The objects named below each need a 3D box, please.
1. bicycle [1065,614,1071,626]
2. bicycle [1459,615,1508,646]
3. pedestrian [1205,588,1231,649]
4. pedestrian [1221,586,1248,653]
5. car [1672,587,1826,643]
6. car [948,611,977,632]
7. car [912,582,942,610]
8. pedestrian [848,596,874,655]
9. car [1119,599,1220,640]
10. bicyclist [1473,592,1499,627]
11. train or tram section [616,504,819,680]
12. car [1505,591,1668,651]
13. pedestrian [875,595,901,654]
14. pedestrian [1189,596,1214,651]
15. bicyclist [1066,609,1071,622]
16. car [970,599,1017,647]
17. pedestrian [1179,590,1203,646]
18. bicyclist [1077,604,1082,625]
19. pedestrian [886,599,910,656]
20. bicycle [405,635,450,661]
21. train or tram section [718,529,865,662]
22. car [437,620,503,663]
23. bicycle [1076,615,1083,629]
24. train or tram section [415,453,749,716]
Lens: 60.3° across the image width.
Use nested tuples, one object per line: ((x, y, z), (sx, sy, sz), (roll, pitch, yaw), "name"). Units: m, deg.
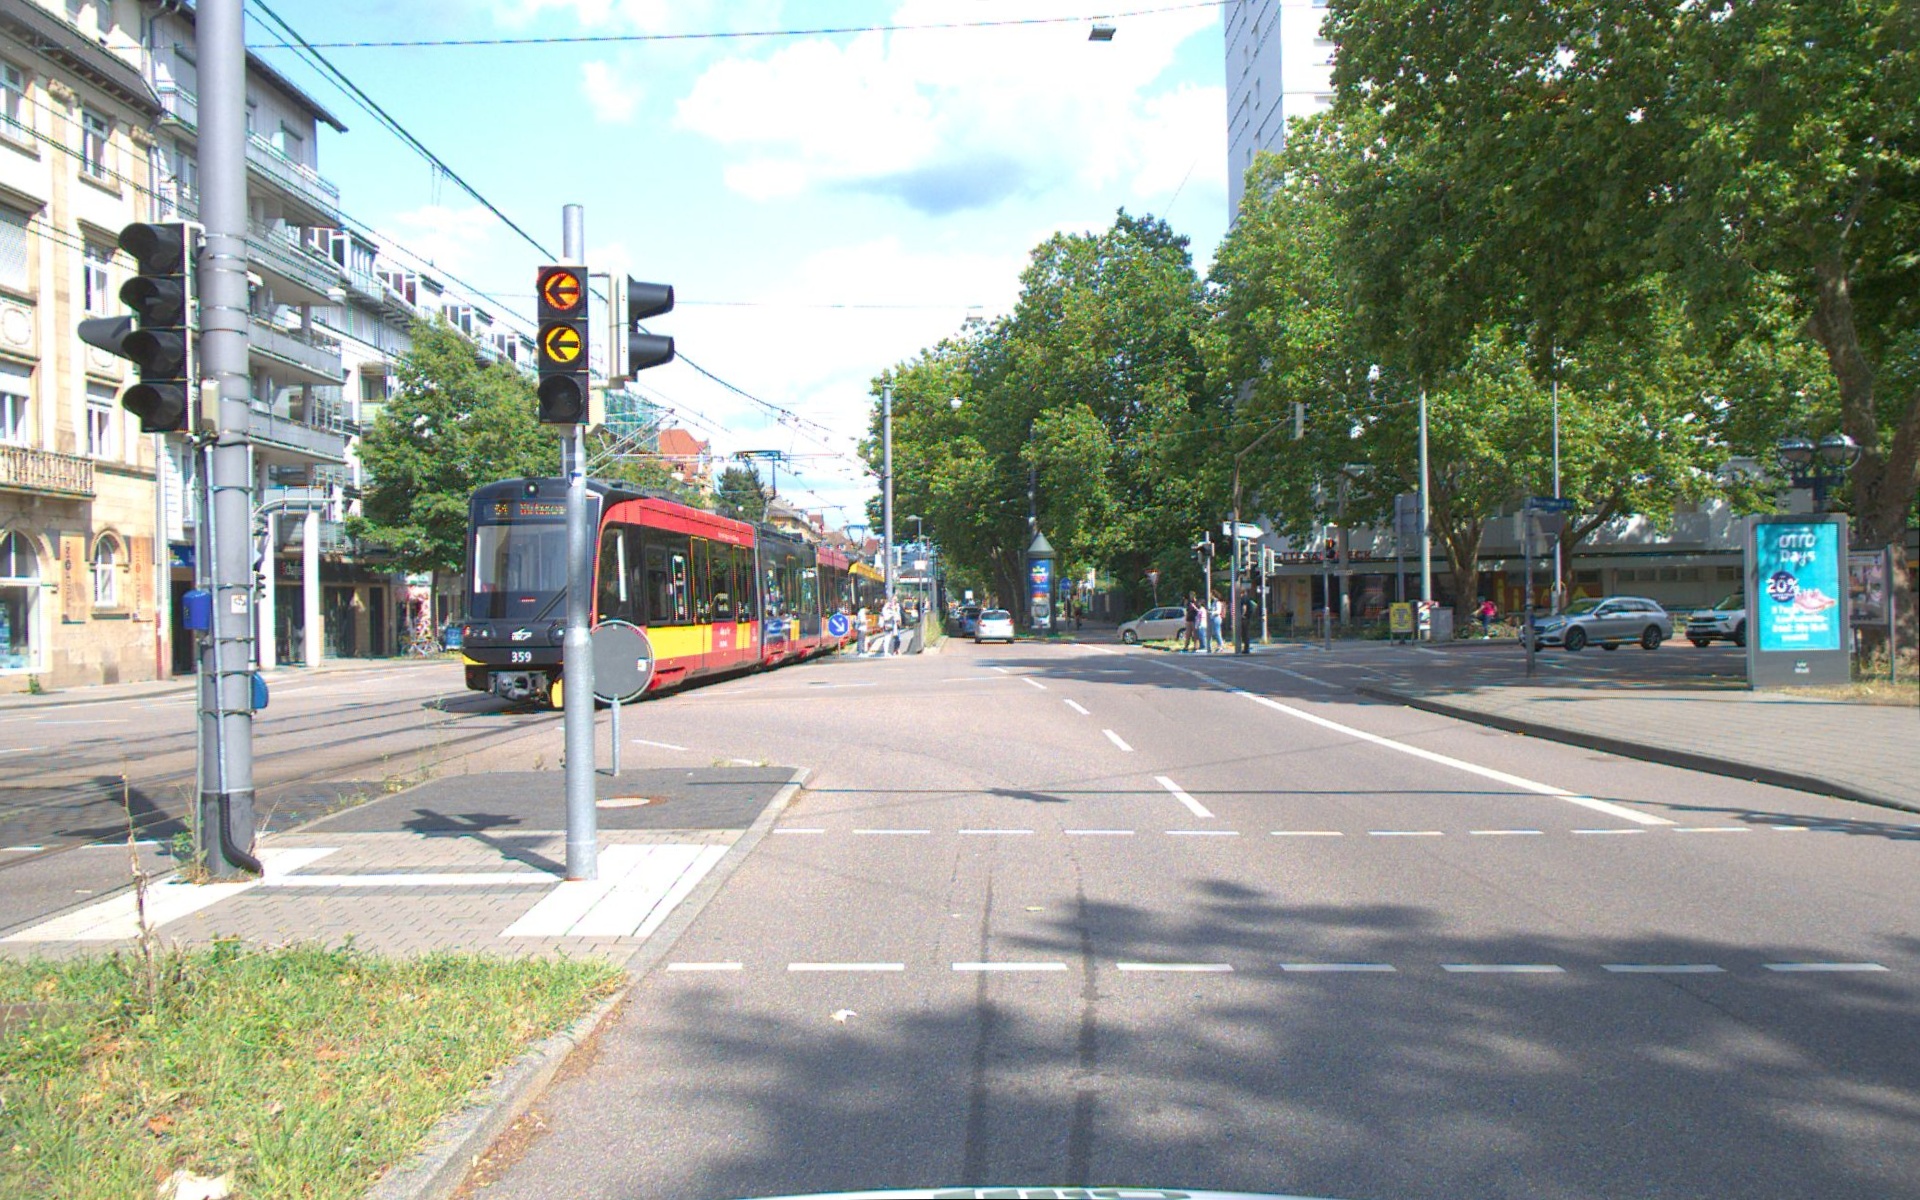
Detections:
((6.968, 1.302, 106.702), (0.273, 0.800, 0.956), (1, 0, 8), "bicycle")
((19.045, 1.111, 60.144), (1.644, 1.107, 0.482), (1, -1, 28), "bicycle")
((7.576, 0.550, 48.646), (0.520, 1.766, 0.553), (-1, 0, -21), "pedestrian")
((7.728, 0.540, 46.545), (0.473, 1.857, 0.553), (-2, -1, 42), "pedestrian")
((23.218, 0.436, 48.680), (4.005, 1.516, 1.849), (-1, 0, -22), "car")
((0.114, 1.216, 94.906), (1.591, 1.199, 3.999), (0, 0, -1), "car")
((-2.240, -0.263, 114.263), (1.777, 1.836, 4.001), (-2, 0, 3), "car")
((-2.923, 0.750, 49.045), (0.655, 1.732, 0.648), (-1, 0, 2), "pedestrian")
((8.206, 0.769, 64.937), (3.530, 1.478, 1.749), (-2, 0, 33), "car")
((19.117, 0.345, 60.119), (0.796, 1.273, 0.482), (1, -1, 27), "bicyclist")
((-5.578, -0.157, 40.332), (2.747, 3.623, 11.185), (-2, 0, 2), "train or tram section")
((17.435, 0.572, 46.068), (3.924, 1.516, 1.852), (-1, 0, -17), "car")
((-2.132, 0.730, 49.011), (0.655, 1.732, 0.648), (-1, 0, 2), "pedestrian")
((7.291, 0.712, 49.996), (0.503, 1.625, 0.553), (-1, 0, -21), "pedestrian")
((6.976, 0.987, 106.691), (0.273, 0.870, 0.360), (1, -1, 8), "bicyclist")
((1.473, 1.008, 73.866), (1.953, 2.049, 3.999), (0, 0, -1), "car")
((7.059, 0.555, 50.533), (0.503, 1.700, 0.553), (-1, 0, -21), "pedestrian")
((6.946, 0.831, 96.179), (0.274, 1.250, 0.282), (1, -1, -1), "bicyclist")
((-1.910, 0.843, 51.081), (0.655, 1.732, 0.648), (-1, 0, 2), "pedestrian")
((-21.656, 1.941, 67.308), (1.655, 1.003, 0.497), (-2, 0, -3), "bicycle")
((-5.027, -0.115, 52.000), (2.747, 3.623, 12.160), (-2, 0, 3), "train or tram section")
((-22.126, 1.850, 74.790), (1.809, 1.821, 3.999), (1, 0, -1), "car")
((6.941, 1.249, 96.171), (0.274, 0.800, 0.955), (1, 0, -1), "bicycle")
((-6.074, -0.213, 29.054), (2.738, 3.623, 11.380), (-2, 0, 2), "train or tram section")
